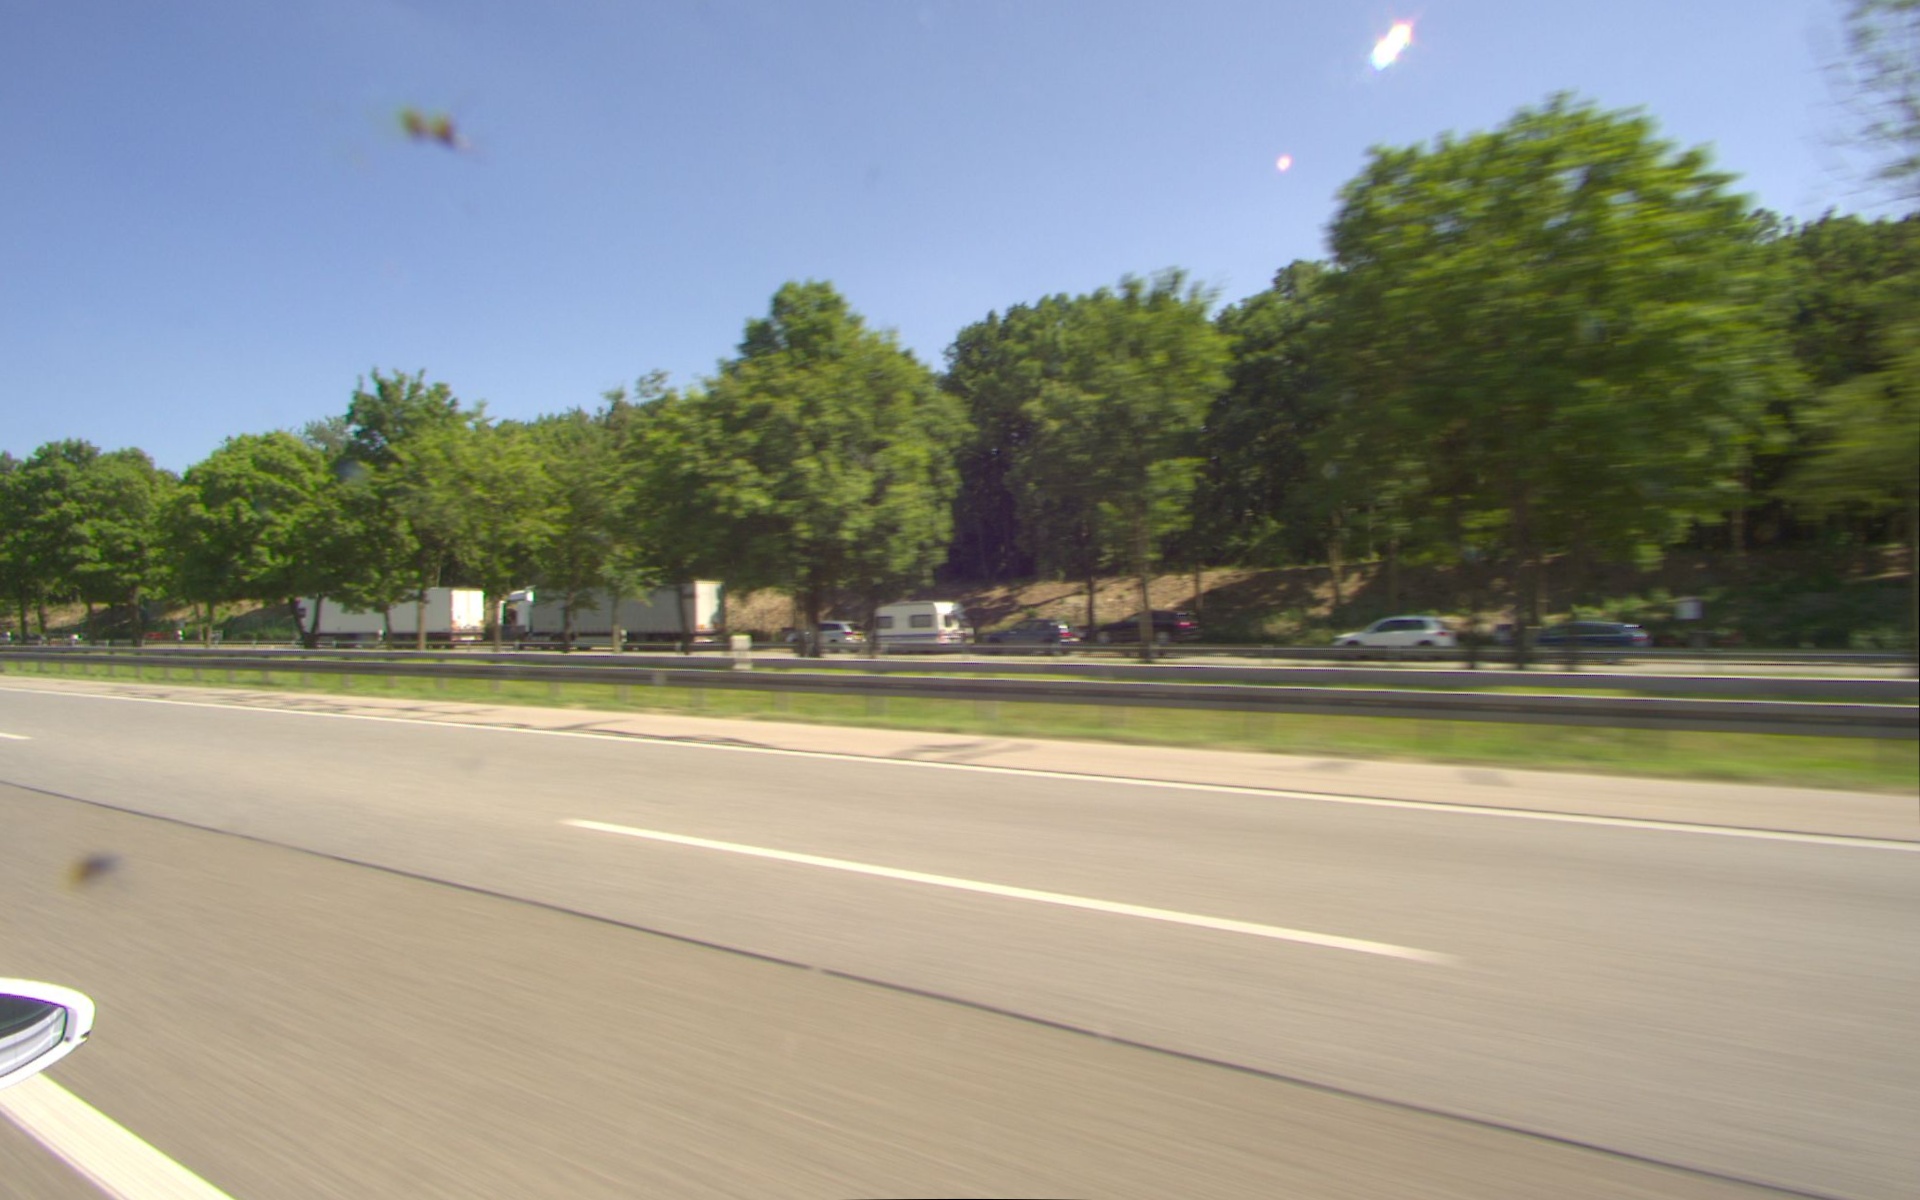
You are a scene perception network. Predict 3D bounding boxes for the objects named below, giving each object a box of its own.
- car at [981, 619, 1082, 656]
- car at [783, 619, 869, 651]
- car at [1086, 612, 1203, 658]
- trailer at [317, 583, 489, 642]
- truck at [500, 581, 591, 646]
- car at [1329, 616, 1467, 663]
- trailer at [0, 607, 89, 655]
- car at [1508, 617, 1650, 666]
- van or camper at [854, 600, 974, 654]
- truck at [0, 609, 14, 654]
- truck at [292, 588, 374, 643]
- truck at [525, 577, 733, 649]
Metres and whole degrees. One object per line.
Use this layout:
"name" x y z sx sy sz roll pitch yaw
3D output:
"car" 3.294 1.721 46.455 4.429 1.663 1.654 -1 -1 30
"car" -7.093 1.849 52.973 4.490 1.618 1.653 -1 -1 32
"car" 7.897 1.497 43.110 4.739 1.901 1.650 -1 -1 37
"trailer" -38.855 0.994 69.550 13.959 3.845 2.858 -1 -1 25
"truck" -26.432 0.904 63.875 4.758 3.982 2.969 -1 -1 28
"car" 16.604 1.495 38.027 4.587 1.697 1.652 -1 -1 34
"trailer" -80.362 2.701 85.961 12.524 3.965 2.576 -1 -1 19
"car" 21.432 1.417 34.721 3.954 1.594 1.984 -1 -1 41
"van or camper" -2.318 1.344 49.945 5.792 2.563 2.199 -1 -1 33
"truck" -86.239 2.803 87.999 4.780 3.965 2.576 -1 -1 19
"truck" -45.472 1.170 72.647 5.062 3.845 2.809 -1 -1 25
"truck" -20.243 0.893 60.594 14.236 3.982 2.994 -1 -1 28
